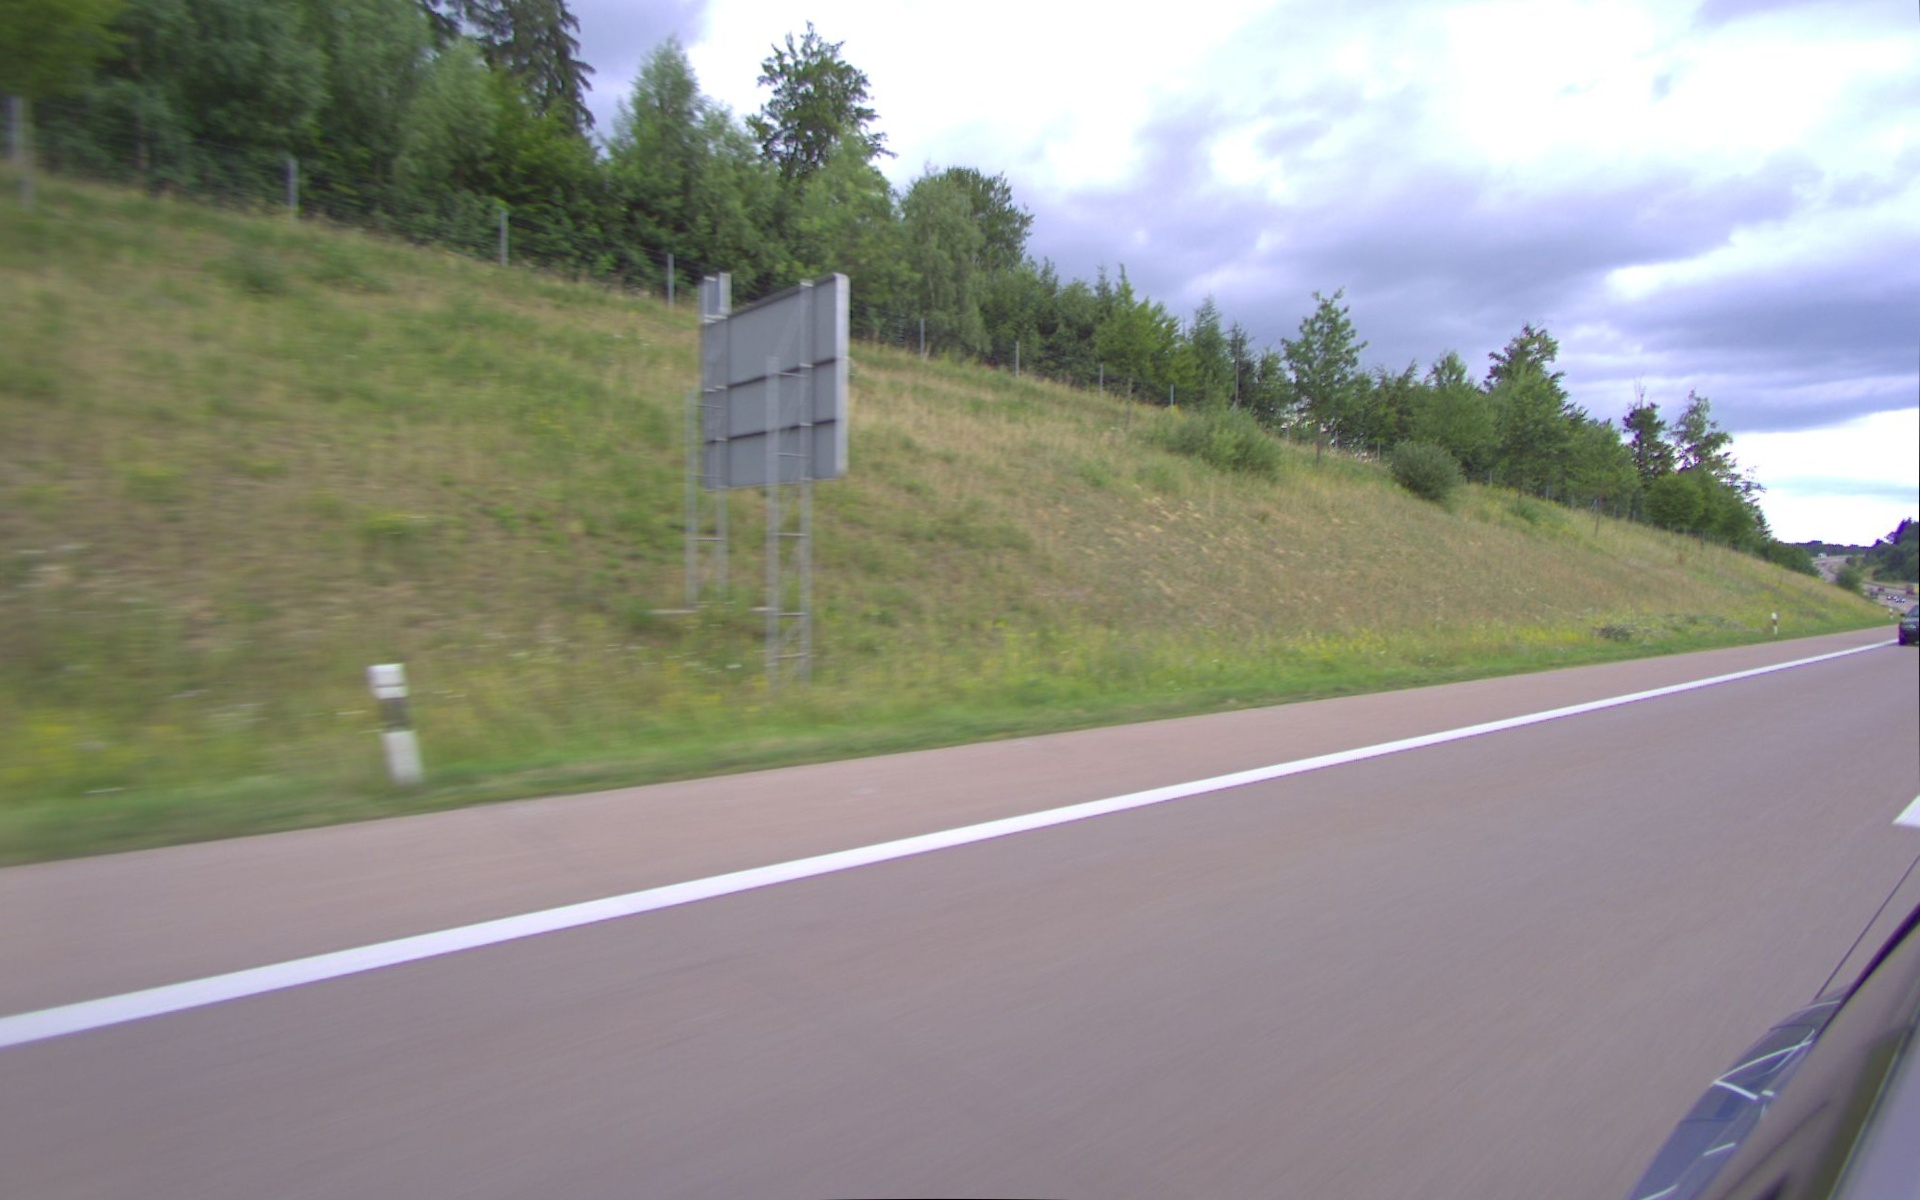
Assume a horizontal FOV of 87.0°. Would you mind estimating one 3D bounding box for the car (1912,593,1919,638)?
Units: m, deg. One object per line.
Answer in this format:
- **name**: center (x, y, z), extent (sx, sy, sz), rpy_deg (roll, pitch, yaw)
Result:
- **car**: center (33.012, 0.473, 33.574), extent (4.160, 1.420, 1.675), rpy_deg (-2, 2, -41)
